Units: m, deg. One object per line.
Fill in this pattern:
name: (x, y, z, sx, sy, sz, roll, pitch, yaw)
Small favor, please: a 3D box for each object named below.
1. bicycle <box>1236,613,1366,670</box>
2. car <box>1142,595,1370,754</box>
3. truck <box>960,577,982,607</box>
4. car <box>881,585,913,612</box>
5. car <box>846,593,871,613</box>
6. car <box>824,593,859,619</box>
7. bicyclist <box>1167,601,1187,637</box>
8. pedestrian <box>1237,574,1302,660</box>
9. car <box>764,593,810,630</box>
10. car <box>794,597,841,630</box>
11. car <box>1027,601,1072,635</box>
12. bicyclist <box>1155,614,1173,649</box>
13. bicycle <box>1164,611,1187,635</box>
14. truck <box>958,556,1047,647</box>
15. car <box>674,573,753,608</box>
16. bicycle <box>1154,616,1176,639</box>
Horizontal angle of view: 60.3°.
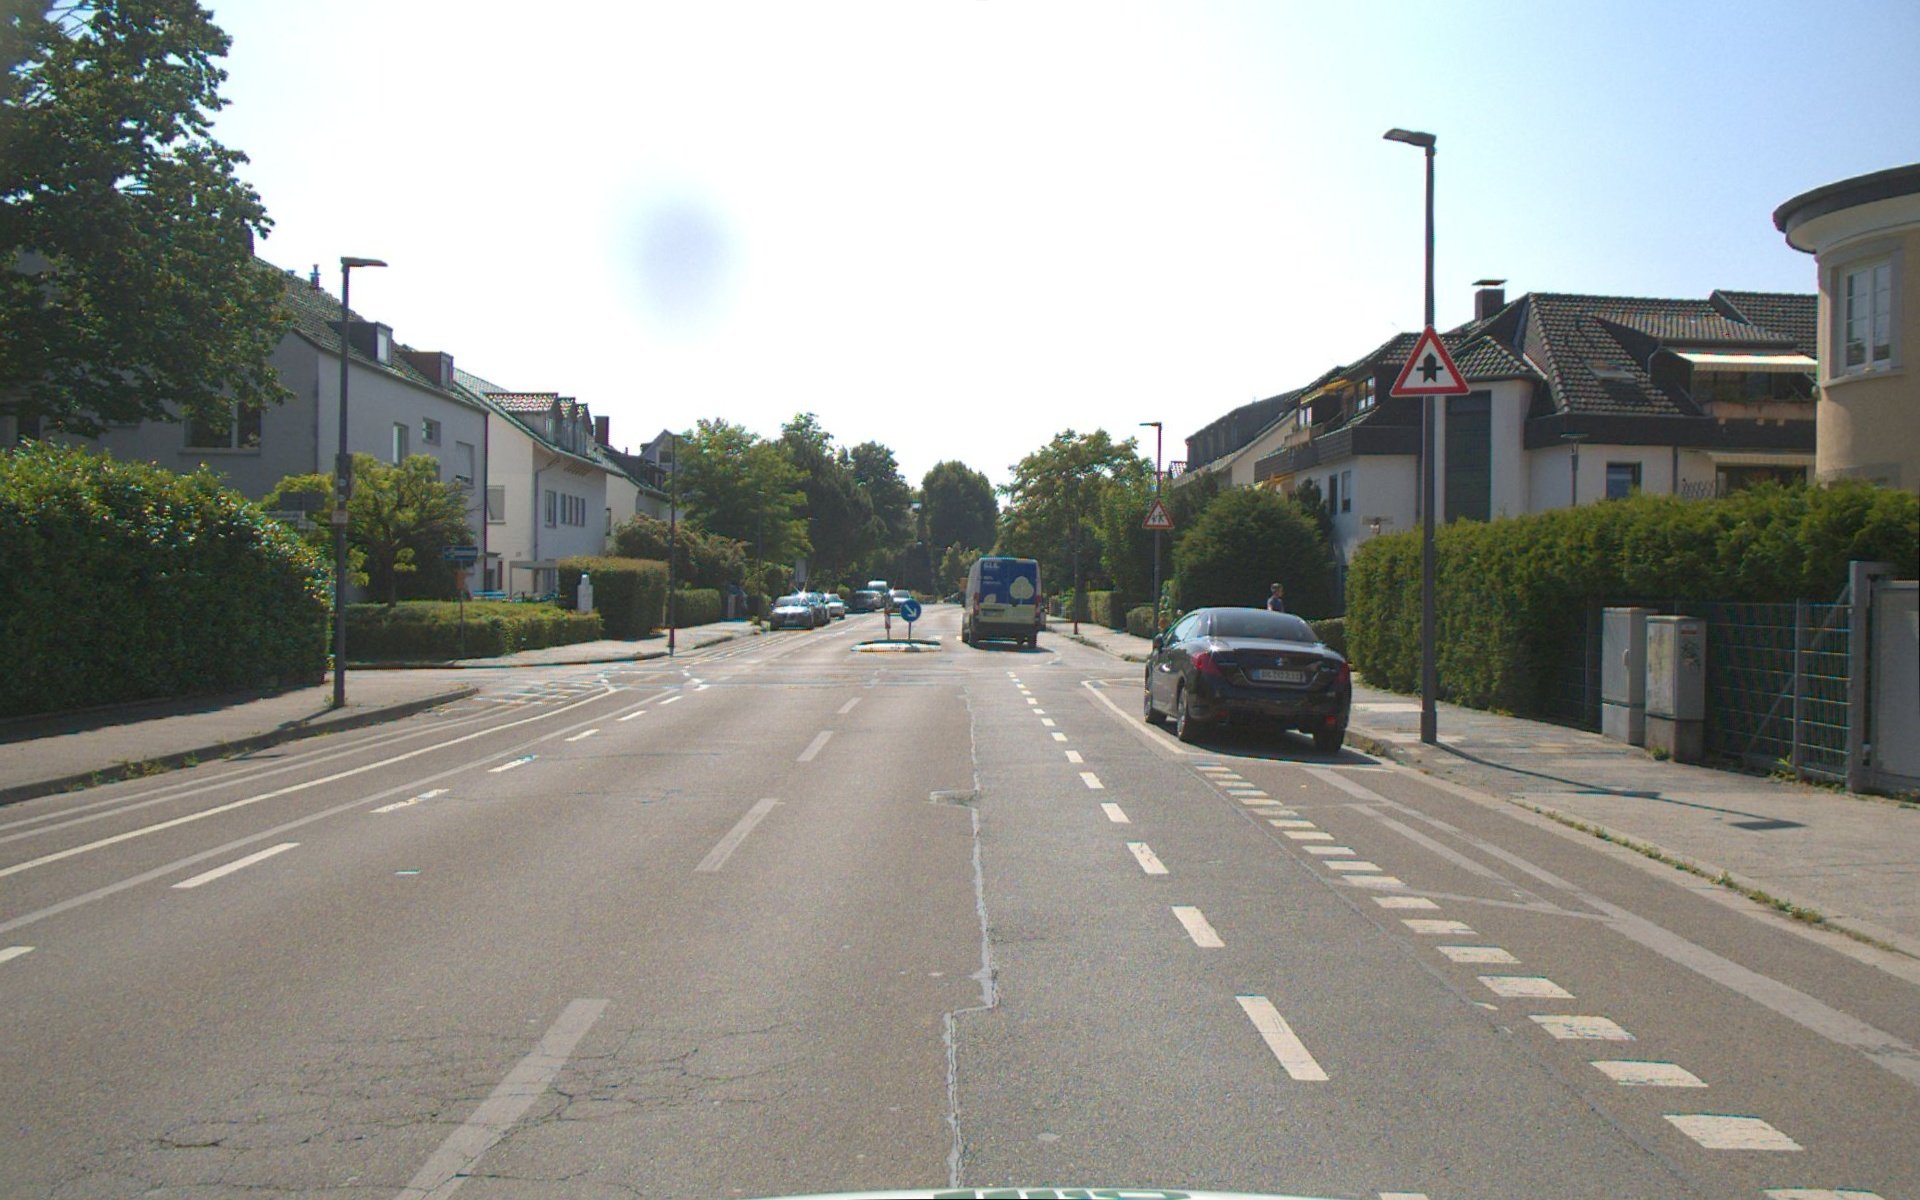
bicycle: (7.459, 0.894, 36.248, 2.654, 1.178, 0.862, 1, 0, 32)
car: (3.196, 0.739, 18.667, 1.701, 1.494, 4.345, 2, 0, -1)
truck: (1.149, -0.771, 166.896, 2.169, 2.998, 5.686, 0, 0, 0)
car: (-4.151, -0.073, 108.933, 1.875, 1.695, 4.506, -1, 0, 0)
car: (-7.838, 0.226, 127.830, 1.745, 1.485, 4.085, 0, 0, -2)
car: (-6.713, 0.329, 93.755, 1.749, 1.465, 3.999, 0, 0, -1)
bicyclist: (5.678, 0.499, 43.284, 0.393, 0.946, 0.657, 0, 0, -3)
pedestrian: (6.949, 0.376, 37.180, 0.890, 1.905, 1.175, 1, 0, -33)
car: (-7.306, 0.466, 70.219, 1.750, 1.465, 4.152, -1, 0, -4)
car: (-6.603, 0.613, 76.936, 1.748, 1.465, 4.111, -1, 1, 1)
car: (3.955, 0.818, 73.683, 1.705, 1.427, 4.072, 0, -1, -2)
bicyclist: (5.654, 0.868, 45.851, 0.390, 0.949, 0.608, 0, 0, -3)
bicycle: (5.659, 0.595, 43.424, 0.393, 0.610, 1.173, 0, 0, -3)
truck: (1.230, 0.038, 49.962, 2.228, 2.616, 4.388, 0, 0, -5)
car: (-13.233, -0.522, 88.914, 3.905, 1.790, 2.000, 1, 1, 0)
bicycle: (5.653, 0.766, 45.611, 0.393, 0.610, 1.150, 0, 0, -3)
